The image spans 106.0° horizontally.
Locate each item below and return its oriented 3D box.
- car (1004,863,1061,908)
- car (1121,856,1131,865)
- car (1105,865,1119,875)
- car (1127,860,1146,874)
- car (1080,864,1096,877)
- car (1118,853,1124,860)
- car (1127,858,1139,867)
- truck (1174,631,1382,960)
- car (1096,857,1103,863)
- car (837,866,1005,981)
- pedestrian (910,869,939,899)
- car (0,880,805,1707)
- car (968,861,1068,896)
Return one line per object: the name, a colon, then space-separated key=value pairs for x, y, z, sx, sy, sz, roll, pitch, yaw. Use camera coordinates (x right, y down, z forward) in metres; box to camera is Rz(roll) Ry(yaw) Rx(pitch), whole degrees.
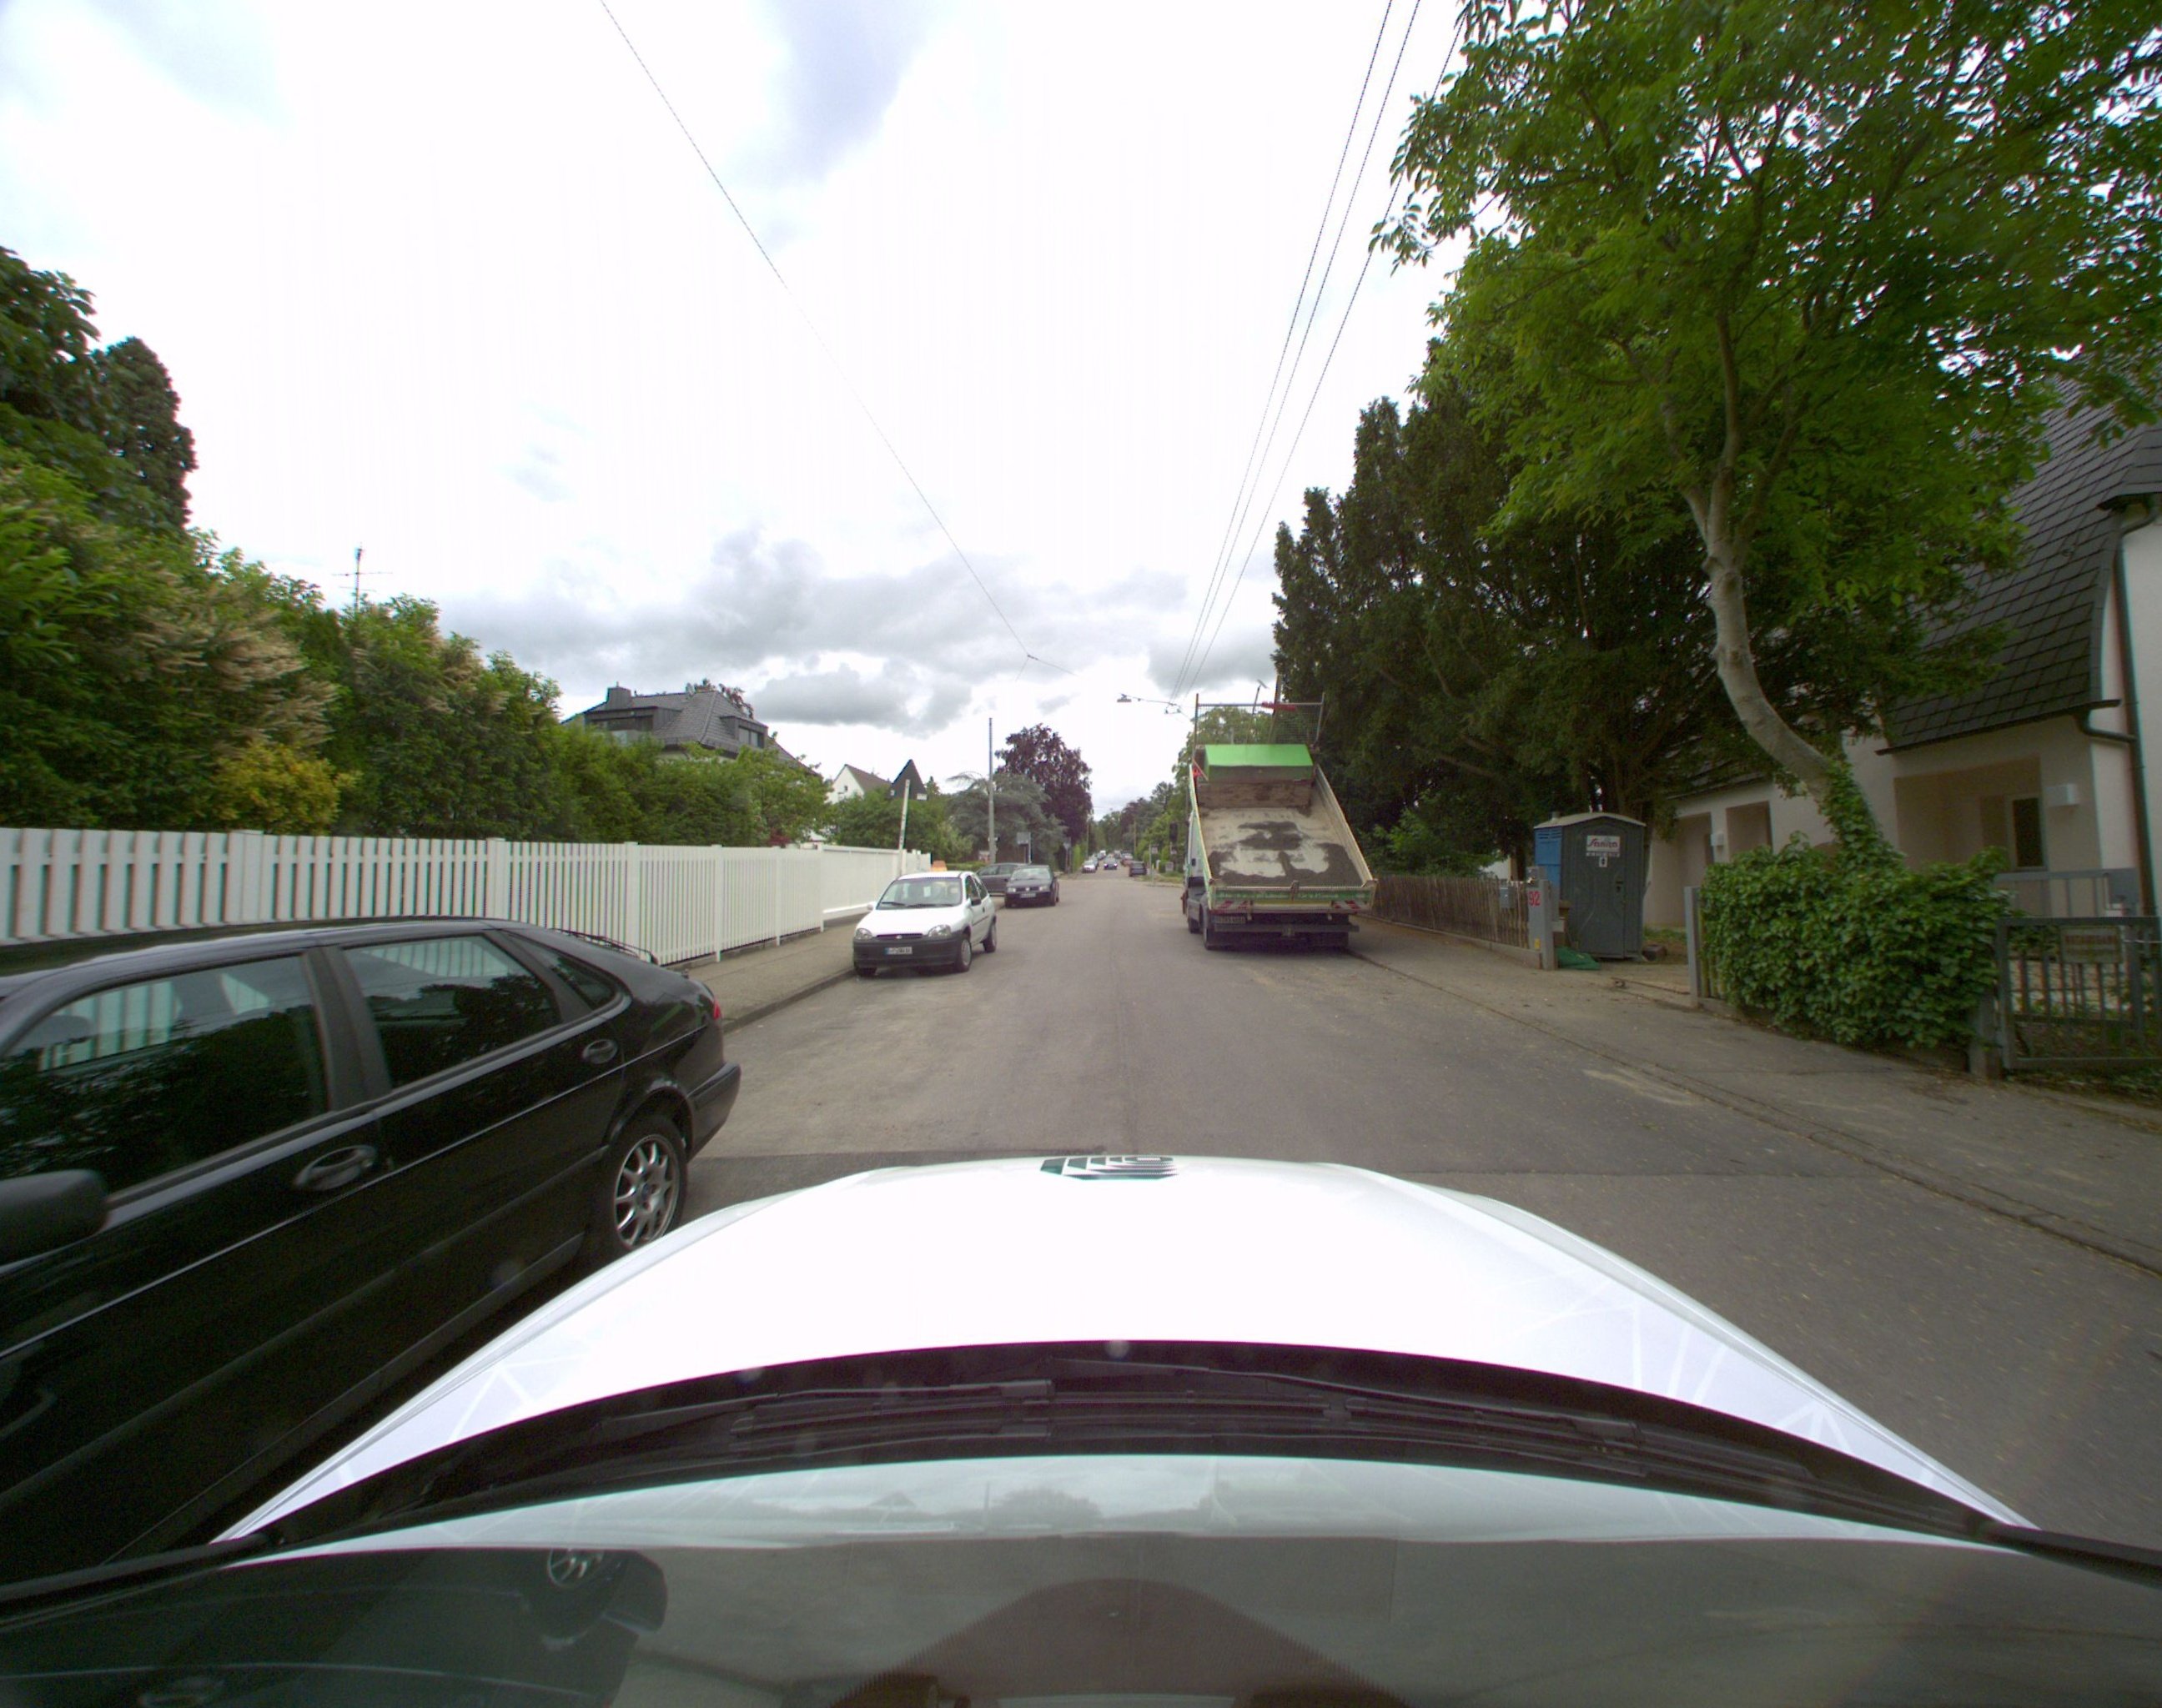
car: x=-1.646 y=1.062 z=28.785 sx=1.631 sy=1.395 sz=3.989 roll=-3 pitch=0 yaw=1
car: x=7.603 y=1.151 z=137.589 sx=1.782 sy=1.529 sz=3.737 roll=0 pitch=0 yaw=3
car: x=4.375 y=2.229 z=114.417 sx=1.719 sy=1.407 sz=3.810 roll=-1 pitch=-1 yaw=6
car: x=5.760 y=1.340 z=85.139 sx=1.772 sy=1.489 sz=4.001 roll=-1 pitch=-1 yaw=1
car: x=0.903 y=2.105 z=105.195 sx=1.703 sy=1.586 sz=4.005 roll=0 pitch=-1 yaw=5
car: x=10.303 y=0.561 z=209.232 sx=1.628 sy=1.701 sz=3.495 roll=0 pitch=0 yaw=1
car: x=8.193 y=1.285 z=128.673 sx=1.804 sy=1.335 sz=3.633 roll=1 pitch=1 yaw=1
truck: x=3.260 y=-0.816 z=15.374 sx=2.514 sy=4.749 sz=7.192 roll=0 pitch=-1 yaw=3
car: x=4.299 y=1.325 z=193.742 sx=1.620 sy=1.386 sz=3.599 roll=1 pitch=-1 yaw=1
car: x=-2.321 y=0.958 z=12.837 sx=1.589 sy=1.433 sz=4.003 roll=-3 pitch=-1 yaw=3
pedestrian: x=-6.672 y=1.276 z=34.754 sx=0.954 sy=1.225 sz=0.827 roll=1 pitch=-2 yaw=-40
car: x=-2.482 y=0.879 z=2.102 sx=1.633 sy=1.422 sz=4.554 roll=-3 pitch=-1 yaw=4
car: x=-2.739 y=1.077 z=35.776 sx=3.955 sy=1.444 sz=1.835 roll=-1 pitch=0 yaw=18
